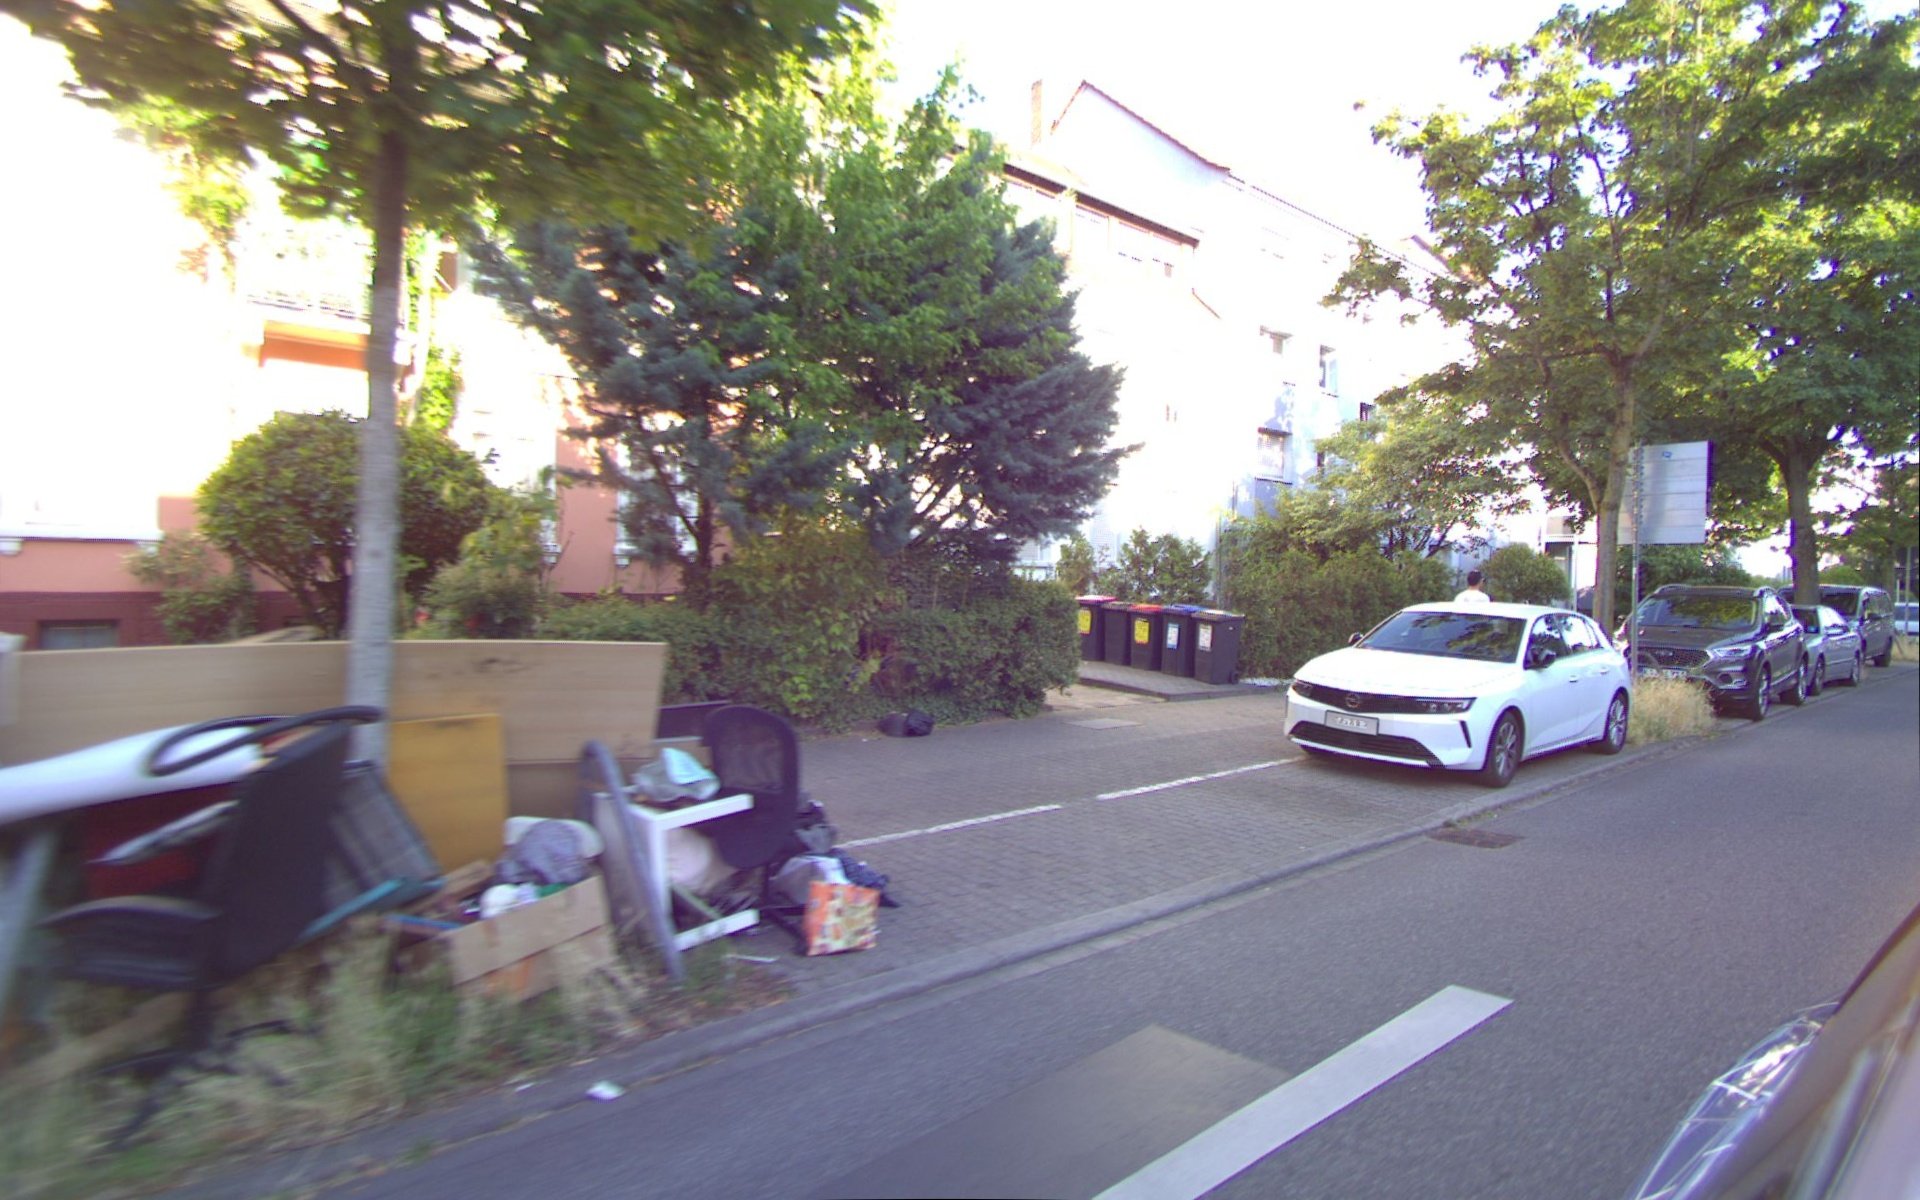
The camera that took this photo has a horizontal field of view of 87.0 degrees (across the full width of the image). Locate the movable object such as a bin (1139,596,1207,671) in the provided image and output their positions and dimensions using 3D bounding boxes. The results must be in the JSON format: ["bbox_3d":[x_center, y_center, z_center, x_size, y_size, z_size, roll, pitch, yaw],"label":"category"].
[{"bbox_3d":[3.304,0.499,15.700,0.672,1.070,0.727,0,4,-41],"label":"movable object such as a bin"}]

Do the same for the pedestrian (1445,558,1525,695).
[{"bbox_3d":[7.193,0.354,13.878,0.751,1.805,0.669,-2,-1,-41],"label":"pedestrian"}]

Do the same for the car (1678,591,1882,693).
[{"bbox_3d":[14.332,0.636,17.595,4.743,1.523,1.789,0,1,-39],"label":"car"}]

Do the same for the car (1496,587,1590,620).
[{"bbox_3d":[30.721,0.143,53.411,3.987,1.574,1.970,2,3,43],"label":"car"}]

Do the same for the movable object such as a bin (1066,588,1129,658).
[{"bbox_3d":[2.290,0.366,16.847,0.672,1.070,0.727,0,4,-41],"label":"movable object such as a bin"}]

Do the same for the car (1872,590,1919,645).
[{"bbox_3d":[27.900,0.511,29.313,4.230,1.461,1.737,1,1,-42],"label":"car"}]

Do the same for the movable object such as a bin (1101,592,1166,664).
[{"bbox_3d":[2.786,0.431,16.277,0.672,1.070,0.727,0,4,-41],"label":"movable object such as a bin"}]

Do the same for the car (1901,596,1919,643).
[{"bbox_3d":[31.862,0.644,32.689,4.264,1.461,1.737,1,1,-42],"label":"car"}]

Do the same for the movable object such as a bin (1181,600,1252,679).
[{"bbox_3d":[3.825,0.570,15.098,0.672,1.070,0.727,0,4,-41],"label":"movable object such as a bin"}]

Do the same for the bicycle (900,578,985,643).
[{"bbox_3d":[-0.343,0.175,18.580,0.656,1.107,1.728,0,1,-38],"label":"bicycle"}]

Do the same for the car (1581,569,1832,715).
[{"bbox_3d":[10.697,0.476,14.376,4.626,1.702,1.920,0,3,-42],"label":"car"}]

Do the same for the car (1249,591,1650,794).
[{"bbox_3d":[4.678,0.662,9.395,4.257,1.419,1.766,0,2,-40],"label":"car"}]

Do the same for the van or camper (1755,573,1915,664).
[{"bbox_3d":[20.223,0.410,23.305,5.165,1.866,1.998,2,0,-40],"label":"van or camper"}]
